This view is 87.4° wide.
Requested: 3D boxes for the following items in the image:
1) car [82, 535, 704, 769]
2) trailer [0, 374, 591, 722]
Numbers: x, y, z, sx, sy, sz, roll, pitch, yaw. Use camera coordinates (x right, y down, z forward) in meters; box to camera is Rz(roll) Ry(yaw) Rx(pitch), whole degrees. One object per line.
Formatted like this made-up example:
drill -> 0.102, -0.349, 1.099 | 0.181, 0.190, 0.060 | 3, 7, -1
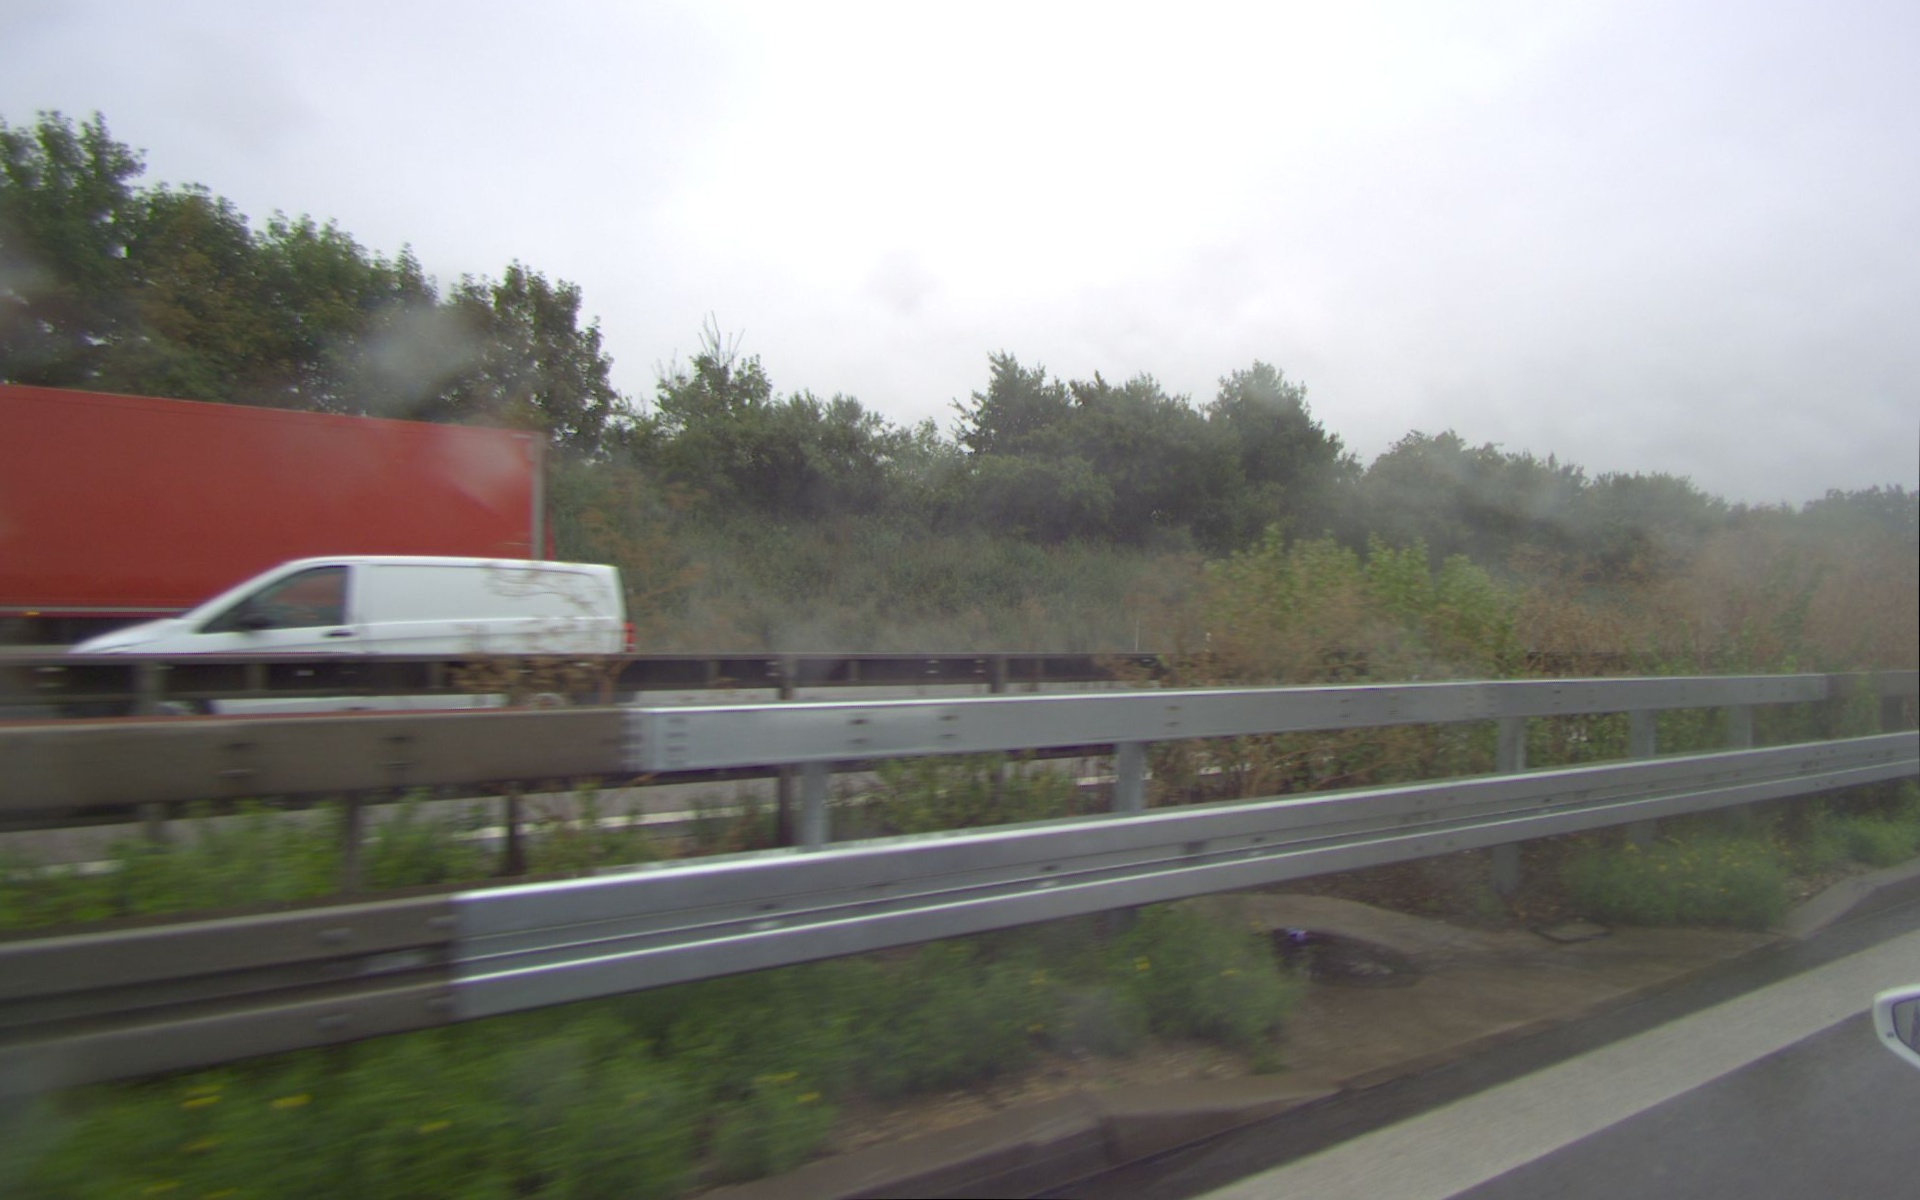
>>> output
car -> -5.678, 0.492, 10.797 | 5.330, 1.997, 1.984 | 1, 0, -31
trailer -> -11.155, -0.582, 12.466 | 12.068, 3.882, 2.586 | 1, 0, -30
